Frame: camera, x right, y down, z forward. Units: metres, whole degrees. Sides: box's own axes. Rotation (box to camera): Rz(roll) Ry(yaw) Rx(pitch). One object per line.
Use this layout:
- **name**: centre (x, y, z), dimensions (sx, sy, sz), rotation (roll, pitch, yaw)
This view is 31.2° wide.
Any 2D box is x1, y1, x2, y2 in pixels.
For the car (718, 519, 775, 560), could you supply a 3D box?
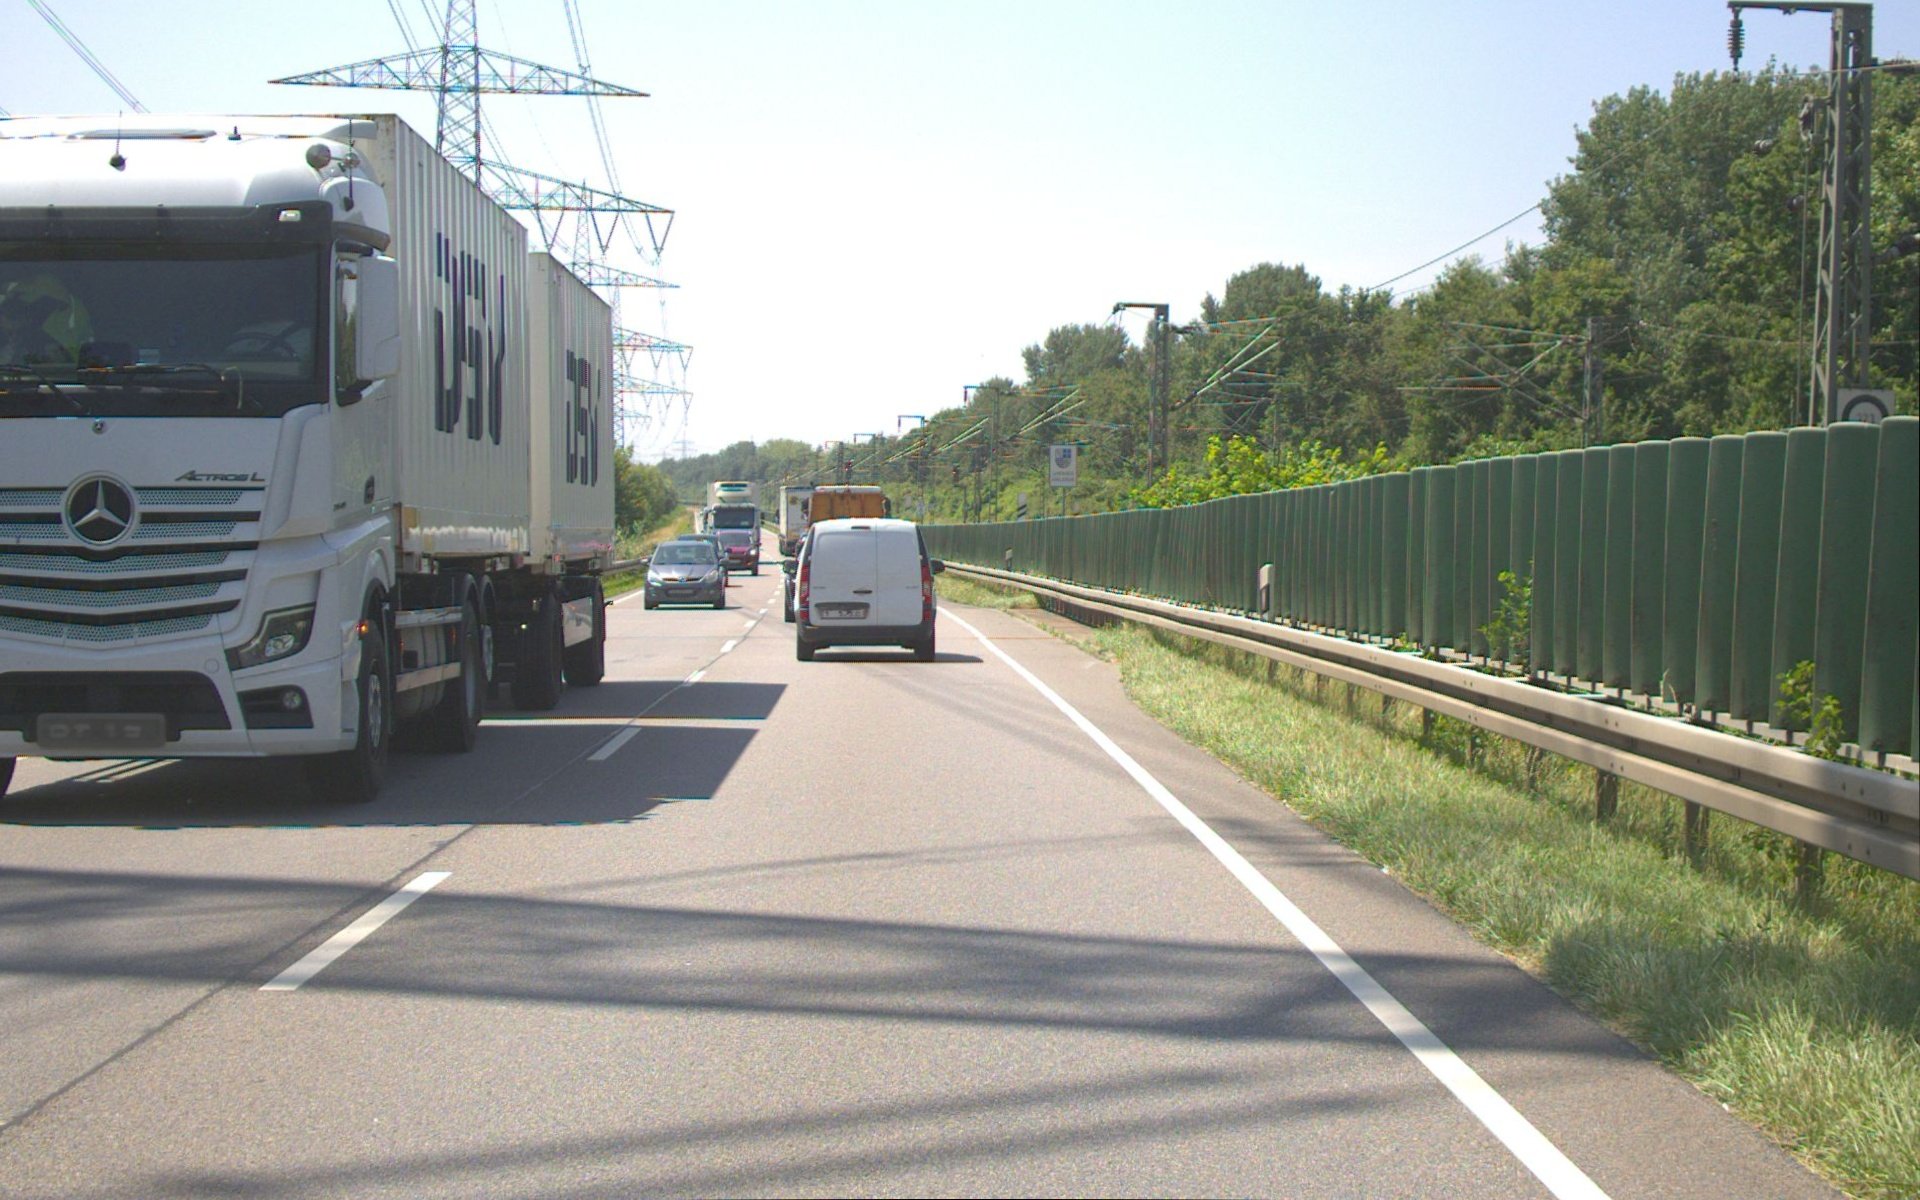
- **car**: centre (-8.063, -2.298, 130.182), dimensions (1.993, 1.521, 4.000), rotation (0, 1, -1)

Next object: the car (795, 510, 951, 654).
- **car**: centre (-1.172, -0.257, 44.341), dimensions (1.875, 1.735, 4.001), rotation (1, 1, -3)

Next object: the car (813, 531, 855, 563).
- **car**: centre (-6.198, -2.606, 168.729), dimensions (1.993, 1.521, 4.001), rotation (0, 1, -2)

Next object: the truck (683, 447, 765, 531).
- **truck**: centre (-11.926, -5.699, 175.143), dimensions (3.402, 3.841, 16.820), rotation (3, 2, -2)

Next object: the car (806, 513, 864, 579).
- **car**: centre (-3.871, -1.674, 106.692), dimensions (1.763, 2.007, 4.001), rotation (0, 1, -2)

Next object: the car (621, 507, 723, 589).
- **car**: centre (-6.327, -1.157, 75.933), dimensions (1.993, 1.735, 4.000), rotation (0, 1, -1)

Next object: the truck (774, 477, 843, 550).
- **truck**: centre (-8.979, -5.158, 201.489), dimensions (3.402, 3.841, 16.821), rotation (3, 2, -4)

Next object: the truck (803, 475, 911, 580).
- **truck**: centre (-3.566, -2.587, 117.994), dimensions (3.296, 3.161, 14.407), rotation (3, 2, -2)

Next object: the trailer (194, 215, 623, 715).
- **trailer**: centre (-4.903, -1.186, 32.357), dimensions (2.719, 4.028, 9.075), rotation (0, 1, -1)

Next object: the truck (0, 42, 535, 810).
- **truck**: centre (-4.722, -1.016, 22.915), dimensions (2.742, 4.028, 9.665), rotation (0, 1, -1)

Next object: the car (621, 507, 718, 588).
- **car**: centre (-6.388, -1.170, 75.932), dimensions (1.993, 1.735, 4.001), rotation (0, 1, -3)
